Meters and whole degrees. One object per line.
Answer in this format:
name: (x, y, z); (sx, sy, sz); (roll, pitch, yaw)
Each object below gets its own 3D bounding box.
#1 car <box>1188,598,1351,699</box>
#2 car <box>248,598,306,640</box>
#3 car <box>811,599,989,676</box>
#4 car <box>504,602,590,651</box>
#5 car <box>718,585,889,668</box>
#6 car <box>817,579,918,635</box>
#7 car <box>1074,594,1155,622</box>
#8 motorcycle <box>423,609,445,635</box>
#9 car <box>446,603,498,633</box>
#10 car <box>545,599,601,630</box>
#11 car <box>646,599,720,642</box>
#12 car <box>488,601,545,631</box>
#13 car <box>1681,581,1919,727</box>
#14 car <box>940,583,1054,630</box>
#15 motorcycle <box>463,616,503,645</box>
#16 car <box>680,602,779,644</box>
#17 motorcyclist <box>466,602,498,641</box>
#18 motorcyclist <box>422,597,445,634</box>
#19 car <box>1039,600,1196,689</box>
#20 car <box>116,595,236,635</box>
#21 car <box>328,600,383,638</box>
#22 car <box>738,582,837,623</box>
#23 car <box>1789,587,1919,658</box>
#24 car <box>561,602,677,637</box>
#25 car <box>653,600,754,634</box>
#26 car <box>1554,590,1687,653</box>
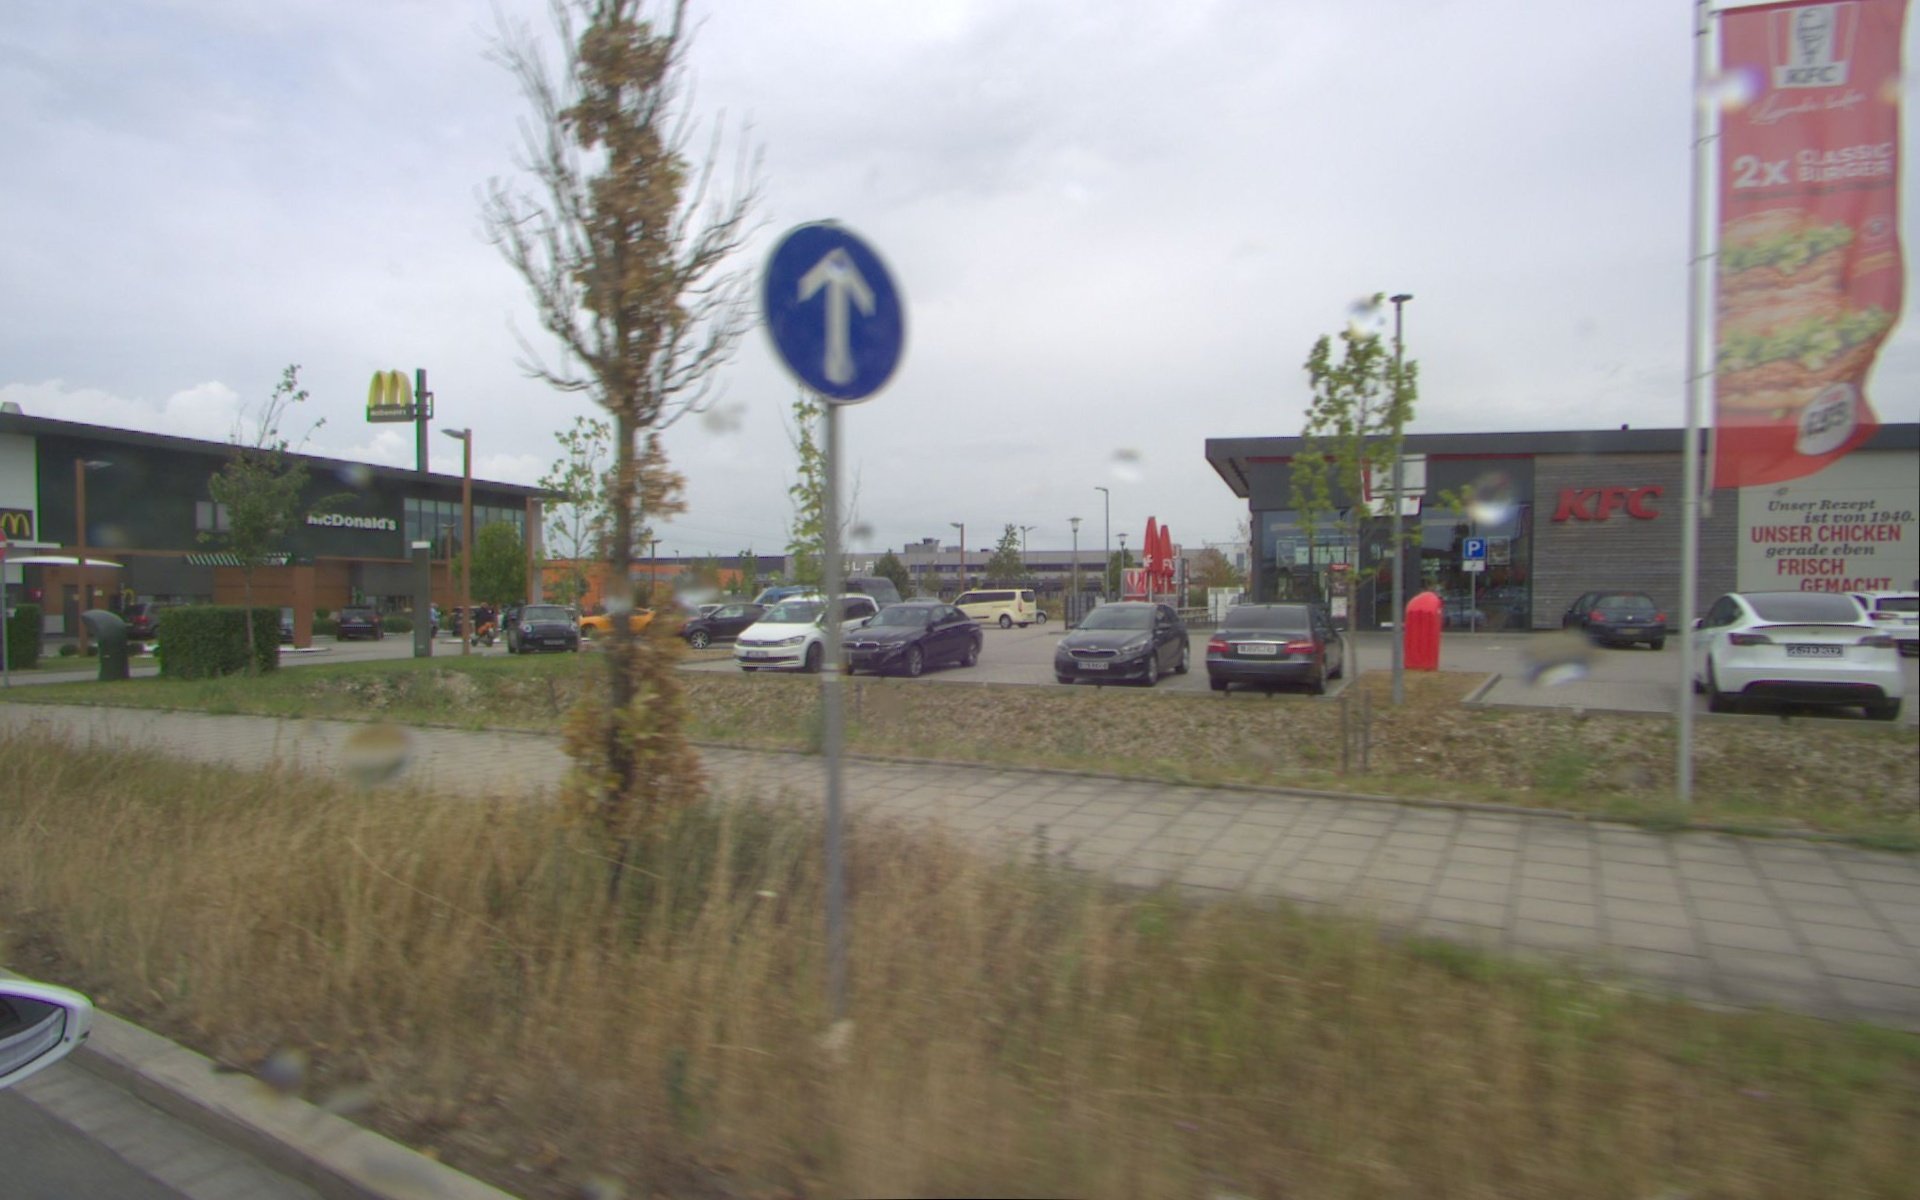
car: (5.495, 0.721, 17.350); (2.000, 1.488, 4.515); (0, 0, 27)
car: (-29.499, 0.806, 43.337); (1.973, 1.739, 3.975); (0, -1, -33)
car: (-1.134, 0.717, 21.480); (2.039, 1.455, 4.469); (0, 0, 23)
car: (-12.162, 0.730, 29.374); (1.791, 1.330, 3.828); (0, 0, -31)
car: (-3.383, 0.536, 22.526); (1.904, 1.661, 4.351); (0, 0, 21)
car: (-4.624, 0.309, 48.547); (2.247, 2.535, 7.293); (0, 0, -28)
car: (11.128, 0.527, 72.011); (5.479, 1.966, 2.314); (0, 0, 20)
motorcycle: (-26.676, 1.103, 50.743); (0.847, 1.261, 1.955); (0, 0, -32)
car: (-26.061, 0.956, 53.404); (1.769, 1.516, 3.970); (1, -1, -37)
car: (-23.182, 0.868, 60.180); (1.961, 1.745, 4.000); (0, -1, -3)
car: (-10.012, 0.692, 36.012); (1.974, 1.448, 4.139); (0, 0, -24)
car: (-24.953, 0.883, 56.330); (1.977, 1.602, 3.967); (1, -1, -39)
car: (11.592, 0.600, 14.019); (2.058, 1.667, 4.552); (0, 1, 31)
car: (1.921, 0.326, 52.960); (5.613, 2.382, 2.520); (0, 0, 34)
motorcycle: (-17.069, 1.062, 35.792); (1.805, 0.998, 0.734); (0, 0, 45)
car: (-7.409, 0.730, 32.224); (3.033, 1.326, 1.524); (0, 0, -13)
motorcyclist: (-17.072, 0.764, 35.779); (0.887, 1.352, 0.775); (0, 1, 45)
motorcyclist: (-26.679, 0.799, 50.732); (0.951, 1.856, 0.840); (0, 0, -33)
car: (3.108, 0.747, 19.065); (1.911, 1.457, 4.083); (0, 1, 25)
car: (-36.510, 0.696, 46.737); (1.965, 1.739, 3.993); (0, -1, 20)
car: (-28.660, 0.885, 47.599); (2.092, 1.739, 4.209); (0, -1, -29)
car: (-11.019, 0.148, 63.982); (5.945, 2.562, 2.275); (0, 1, -21)
car: (22.137, 0.470, 24.099); (2.045, 1.539, 4.563); (0, 1, 22)
car: (-15.298, 0.848, 44.939); (4.662, 1.462, 1.991); (0, 0, -28)
car: (-13.225, 0.845, 51.698); (4.665, 1.678, 1.990); (0, 0, -30)
car: (17.587, 0.506, 26.918); (2.012, 1.539, 4.367); (0, 1, 20)
